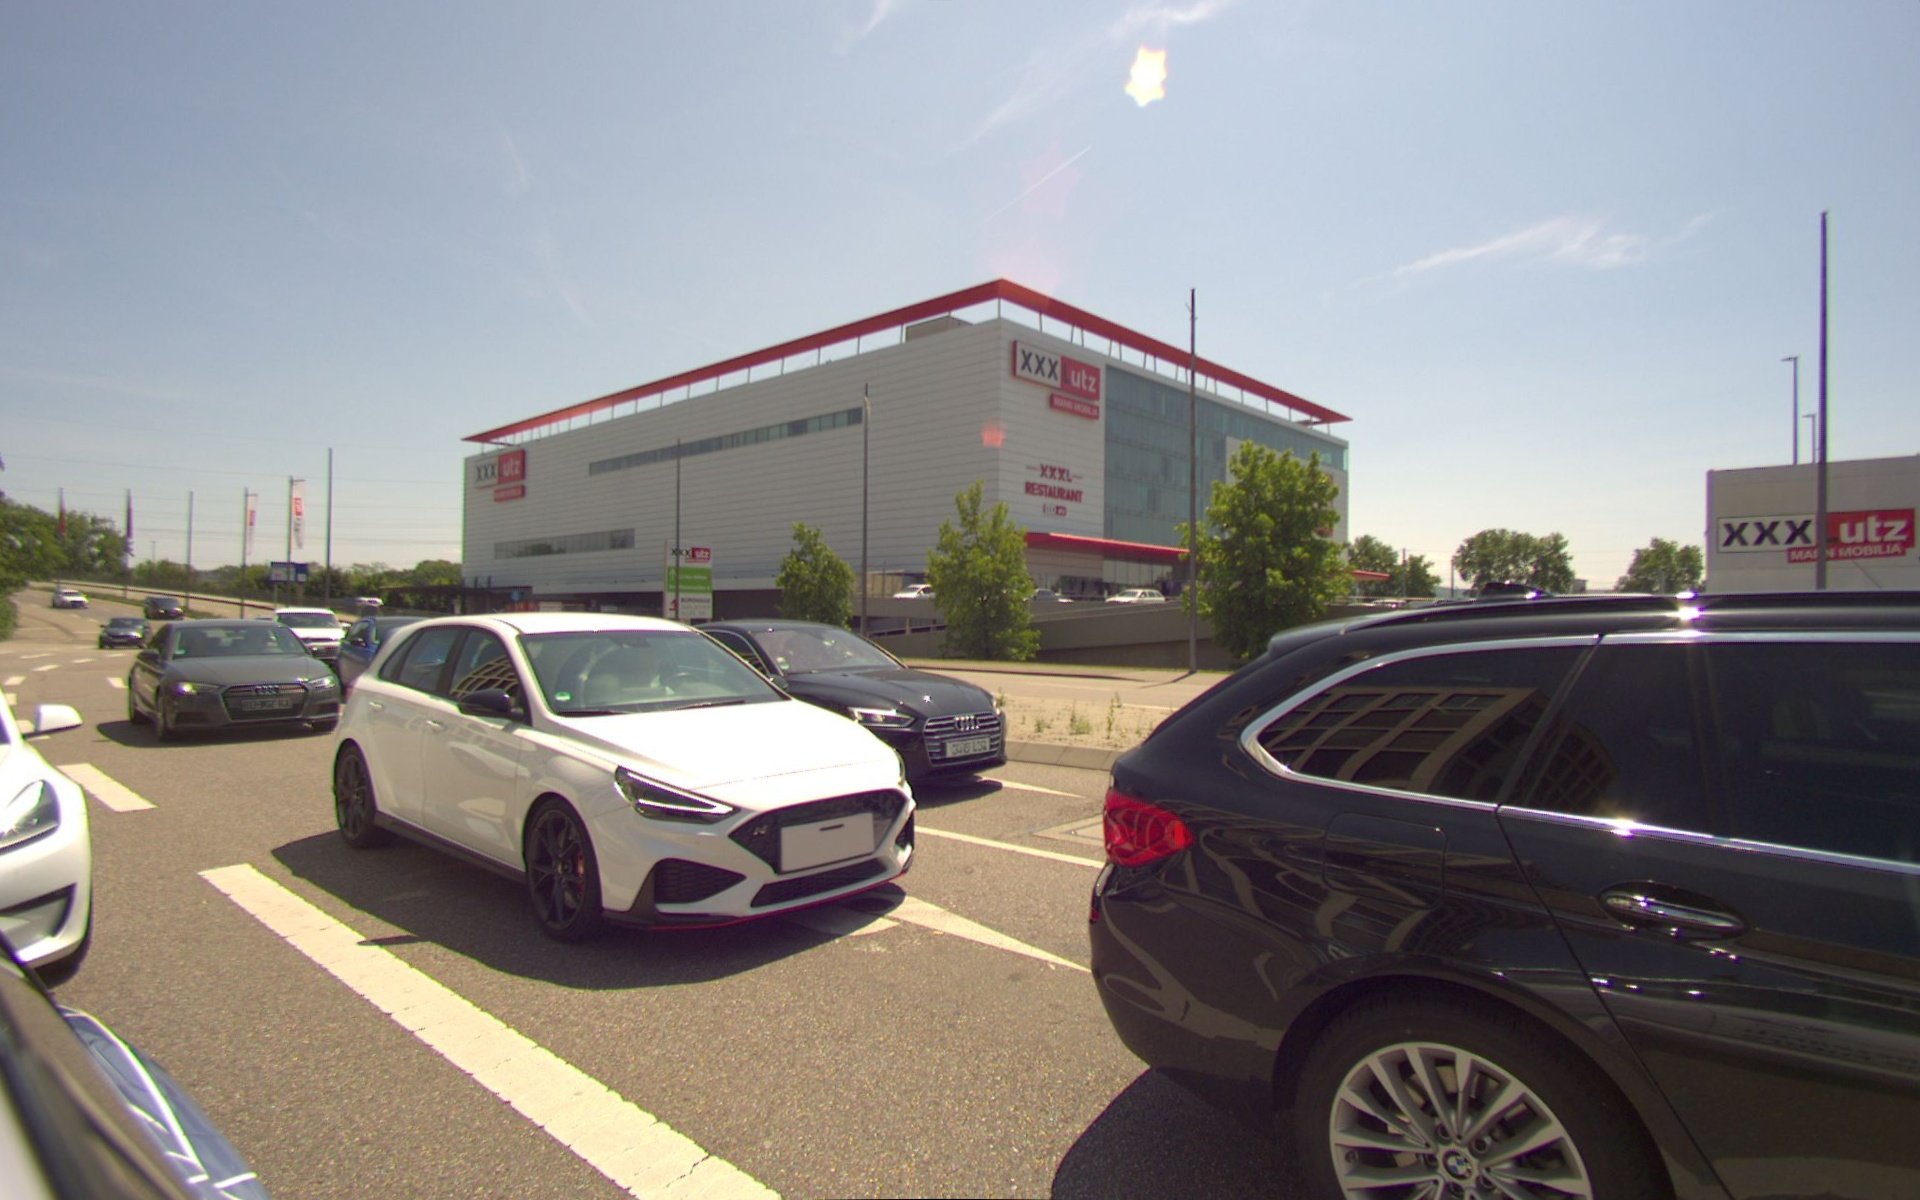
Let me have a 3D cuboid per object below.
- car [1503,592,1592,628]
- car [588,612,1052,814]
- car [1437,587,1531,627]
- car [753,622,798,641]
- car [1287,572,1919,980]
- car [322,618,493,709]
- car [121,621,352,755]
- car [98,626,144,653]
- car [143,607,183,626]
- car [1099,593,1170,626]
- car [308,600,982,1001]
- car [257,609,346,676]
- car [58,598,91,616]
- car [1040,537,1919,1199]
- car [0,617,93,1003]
[{"bbox_3d":[32.501,0.556,56.006,3.996,1.923,1.974,-1,-2,39],"label":"car"},{"bbox_3d":[-1.490,0.844,9.216,4.533,1.401,1.729,-2,-2,43],"label":"car"},{"bbox_3d":[27.175,0.395,52.580,3.998,1.946,1.973,-1,-2,41],"label":"car"},{"bbox_3d":[-16.951,2.923,93.312,1.911,1.632,3.698,0,-2,41],"label":"car"},{"bbox_3d":[3.787,0.678,4.674,3.992,1.505,1.781,-1,-2,36],"label":"car"},{"bbox_3d":[-9.966,1.043,18.091,1.775,1.424,4.412,1,-2,-41],"label":"car"},{"bbox_3d":[-9.247,0.969,12.780,1.776,1.388,4.410,1,-1,-43],"label":"car"},{"bbox_3d":[-38.439,1.828,46.427,1.452,1.198,3.359,2,-3,-38],"label":"car"},{"bbox_3d":[-68.999,1.420,87.601,4.368,1.364,1.972,3,1,42],"label":"car"},{"bbox_3d":[9.947,0.571,57.560,2.001,1.781,4.140,0,-2,44],"label":"car"},{"bbox_3d":[-2.040,0.764,5.743,4.228,1.461,1.712,-1,-1,41],"label":"car"},{"bbox_3d":[-17.202,1.055,26.362,1.653,1.587,4.066,1,-1,-37],"label":"car"},{"bbox_3d":[-82.820,0.631,94.640,3.999,1.472,1.775,3,3,41],"label":"car"},{"bbox_3d":[2.531,0.637,1.717,4.620,1.477,1.781,-1,-1,40],"label":"car"},{"bbox_3d":[-5.703,0.821,4.659,4.401,1.436,1.857,-1,-1,39],"label":"car"}]
